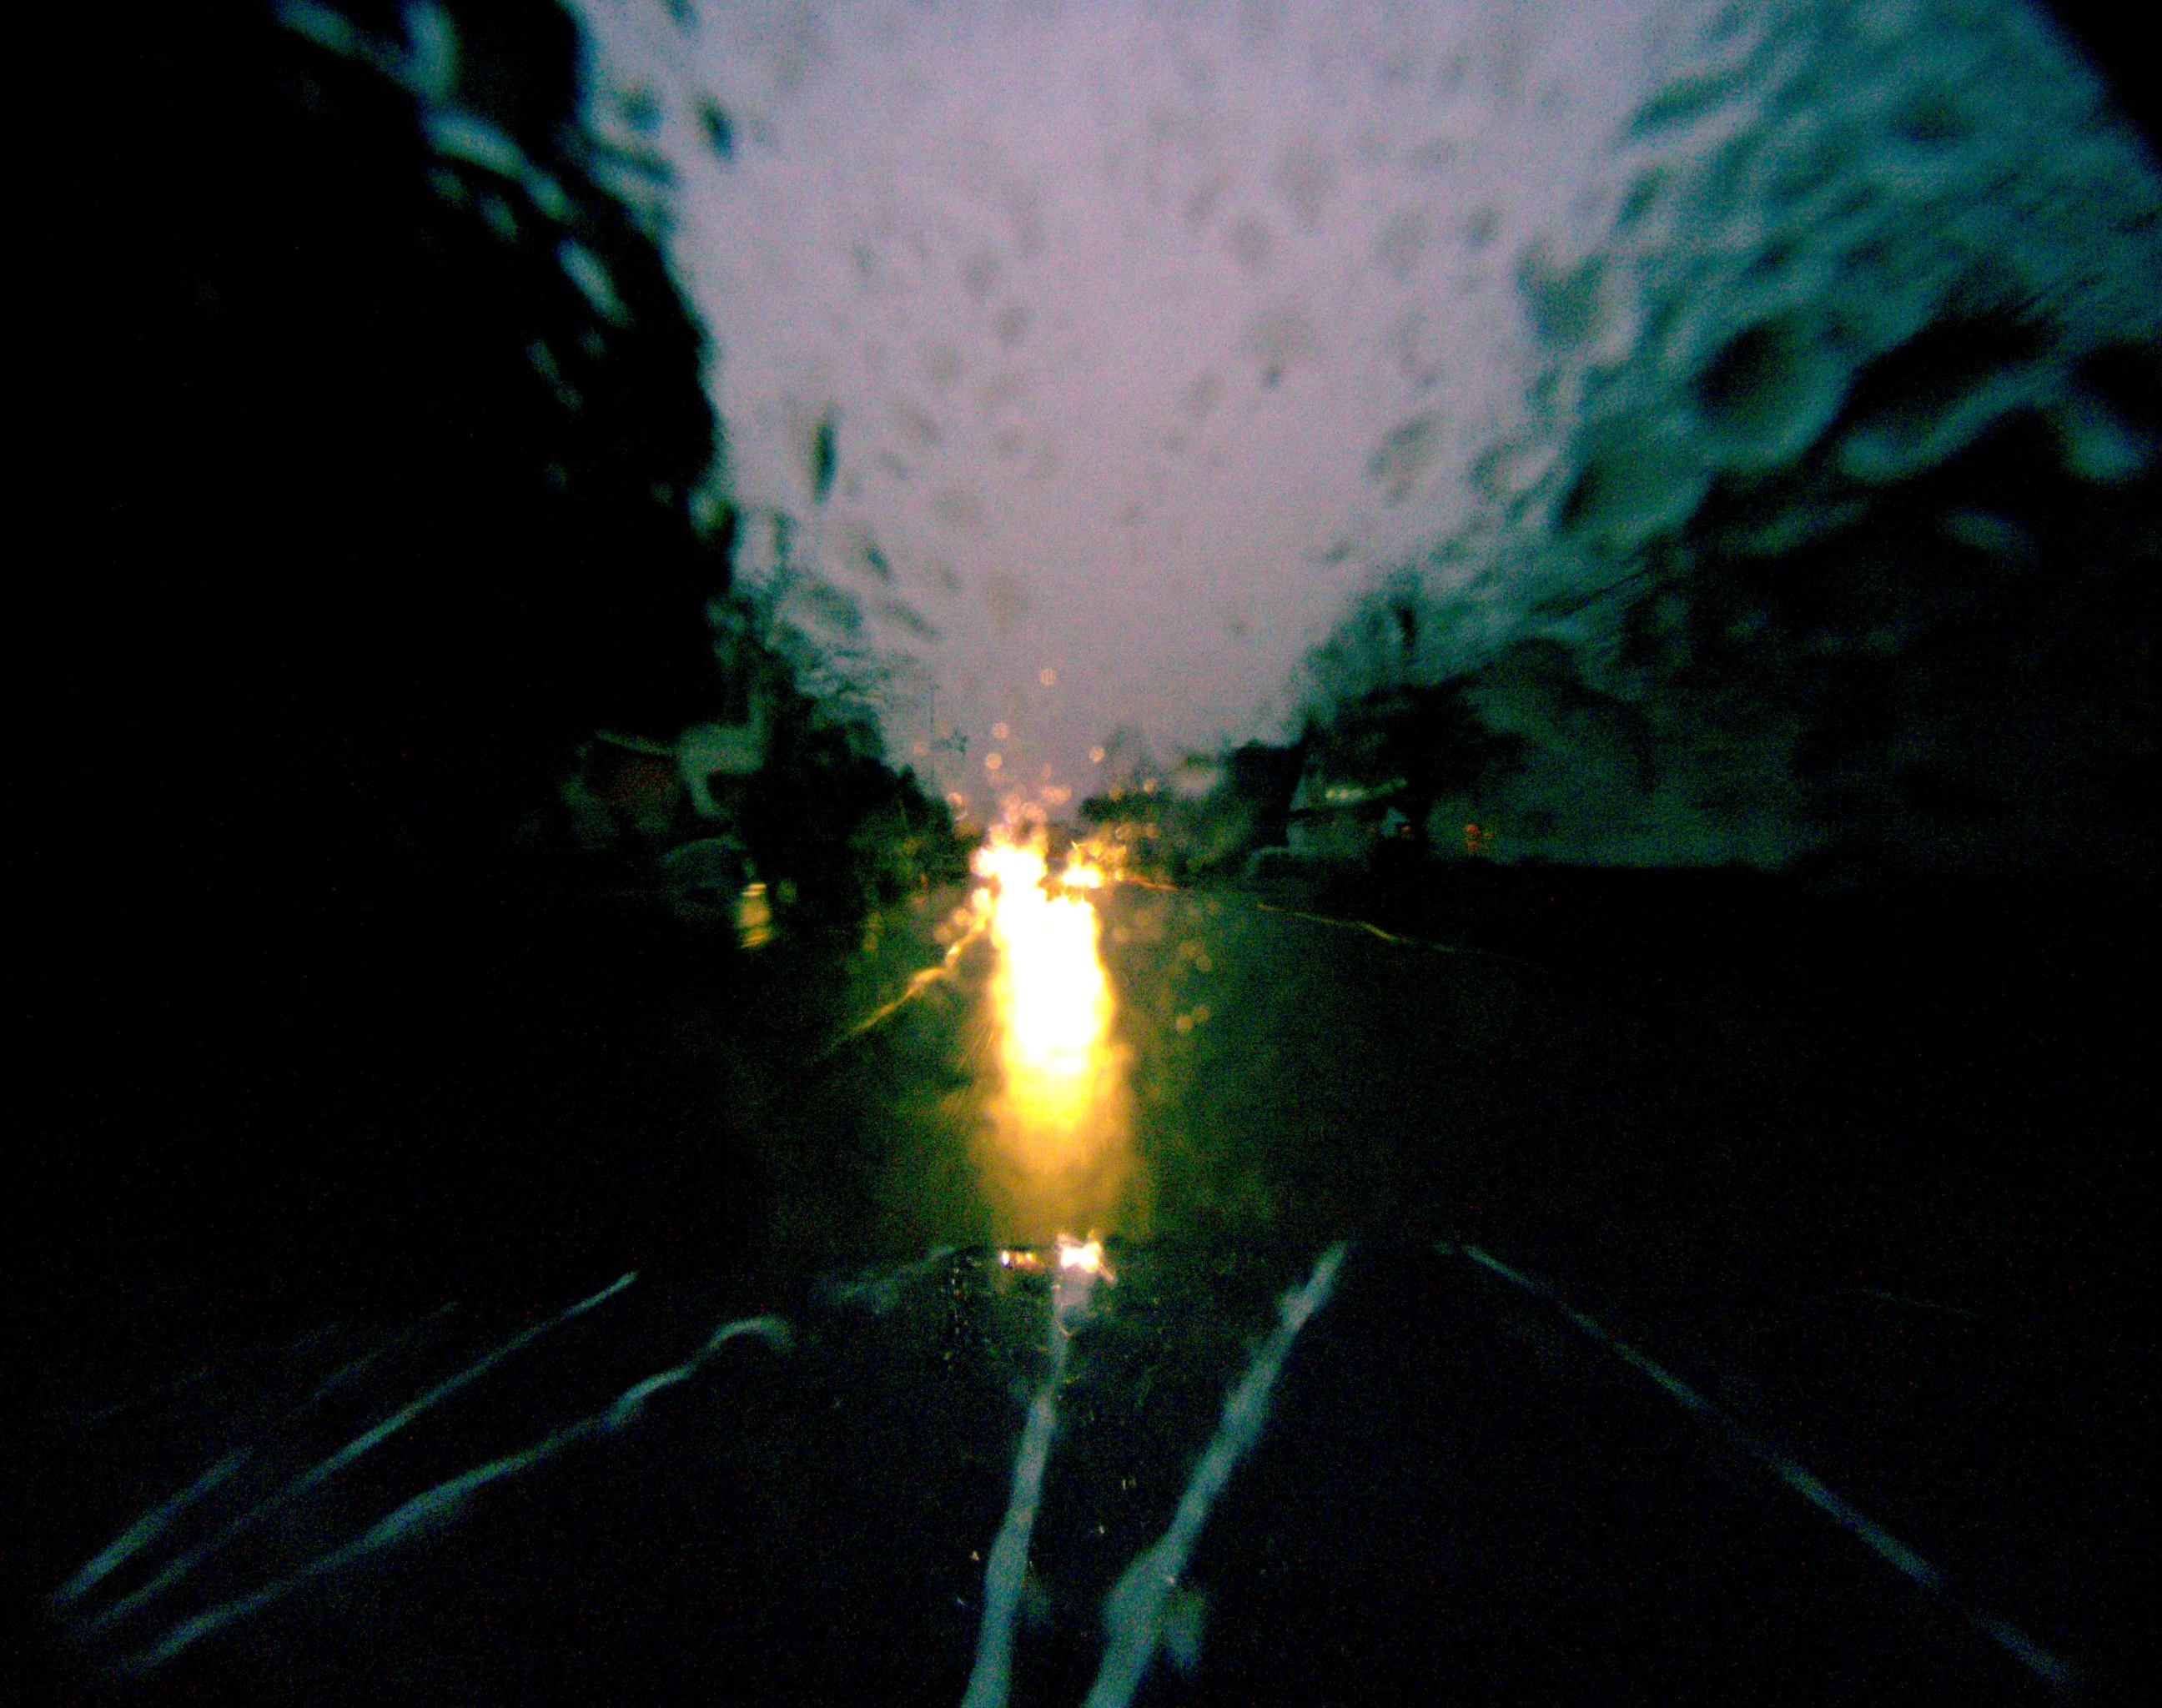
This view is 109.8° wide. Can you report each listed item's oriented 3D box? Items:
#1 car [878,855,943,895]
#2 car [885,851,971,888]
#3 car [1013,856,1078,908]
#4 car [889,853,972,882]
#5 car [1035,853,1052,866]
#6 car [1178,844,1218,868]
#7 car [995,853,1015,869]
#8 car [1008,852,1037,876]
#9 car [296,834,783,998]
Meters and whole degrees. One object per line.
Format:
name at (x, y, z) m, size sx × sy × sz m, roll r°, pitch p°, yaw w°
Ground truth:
car at (-7.158, 0.827, 32.365) m, size 1.898 × 1.545 × 4.753 m, roll -1°, pitch 0°, yaw -4°
car at (-7.770, 0.775, 38.942) m, size 4.114 × 1.696 × 1.998 m, roll -2°, pitch 1°, yaw -7°
car at (-1.213, 0.865, 25.384) m, size 1.999 × 1.575 × 3.998 m, roll -1°, pitch 0°, yaw -4°
car at (-9.255, 0.818, 47.021) m, size 4.747 × 1.620 × 1.906 m, roll -1°, pitch 1°, yaw -3°
car at (-4.657, 0.697, 94.325) m, size 1.819 × 1.623 × 4.222 m, roll 0°, pitch 0°, yaw -7°
car at (8.940, 0.143, 58.400) m, size 1.999 × 1.745 × 4.565 m, roll -1°, pitch 1°, yaw -5°
car at (-8.548, 0.787, 85.013) m, size 1.777 × 1.609 × 3.868 m, roll -2°, pitch 1°, yaw -11°
car at (-4.345, 0.705, 56.366) m, size 1.999 × 1.660 × 3.998 m, roll -1°, pitch 0°, yaw -5°
car at (-6.150, 0.693, 9.167) m, size 4.336 × 1.722 × 1.999 m, roll 1°, pitch 0°, yaw -5°
